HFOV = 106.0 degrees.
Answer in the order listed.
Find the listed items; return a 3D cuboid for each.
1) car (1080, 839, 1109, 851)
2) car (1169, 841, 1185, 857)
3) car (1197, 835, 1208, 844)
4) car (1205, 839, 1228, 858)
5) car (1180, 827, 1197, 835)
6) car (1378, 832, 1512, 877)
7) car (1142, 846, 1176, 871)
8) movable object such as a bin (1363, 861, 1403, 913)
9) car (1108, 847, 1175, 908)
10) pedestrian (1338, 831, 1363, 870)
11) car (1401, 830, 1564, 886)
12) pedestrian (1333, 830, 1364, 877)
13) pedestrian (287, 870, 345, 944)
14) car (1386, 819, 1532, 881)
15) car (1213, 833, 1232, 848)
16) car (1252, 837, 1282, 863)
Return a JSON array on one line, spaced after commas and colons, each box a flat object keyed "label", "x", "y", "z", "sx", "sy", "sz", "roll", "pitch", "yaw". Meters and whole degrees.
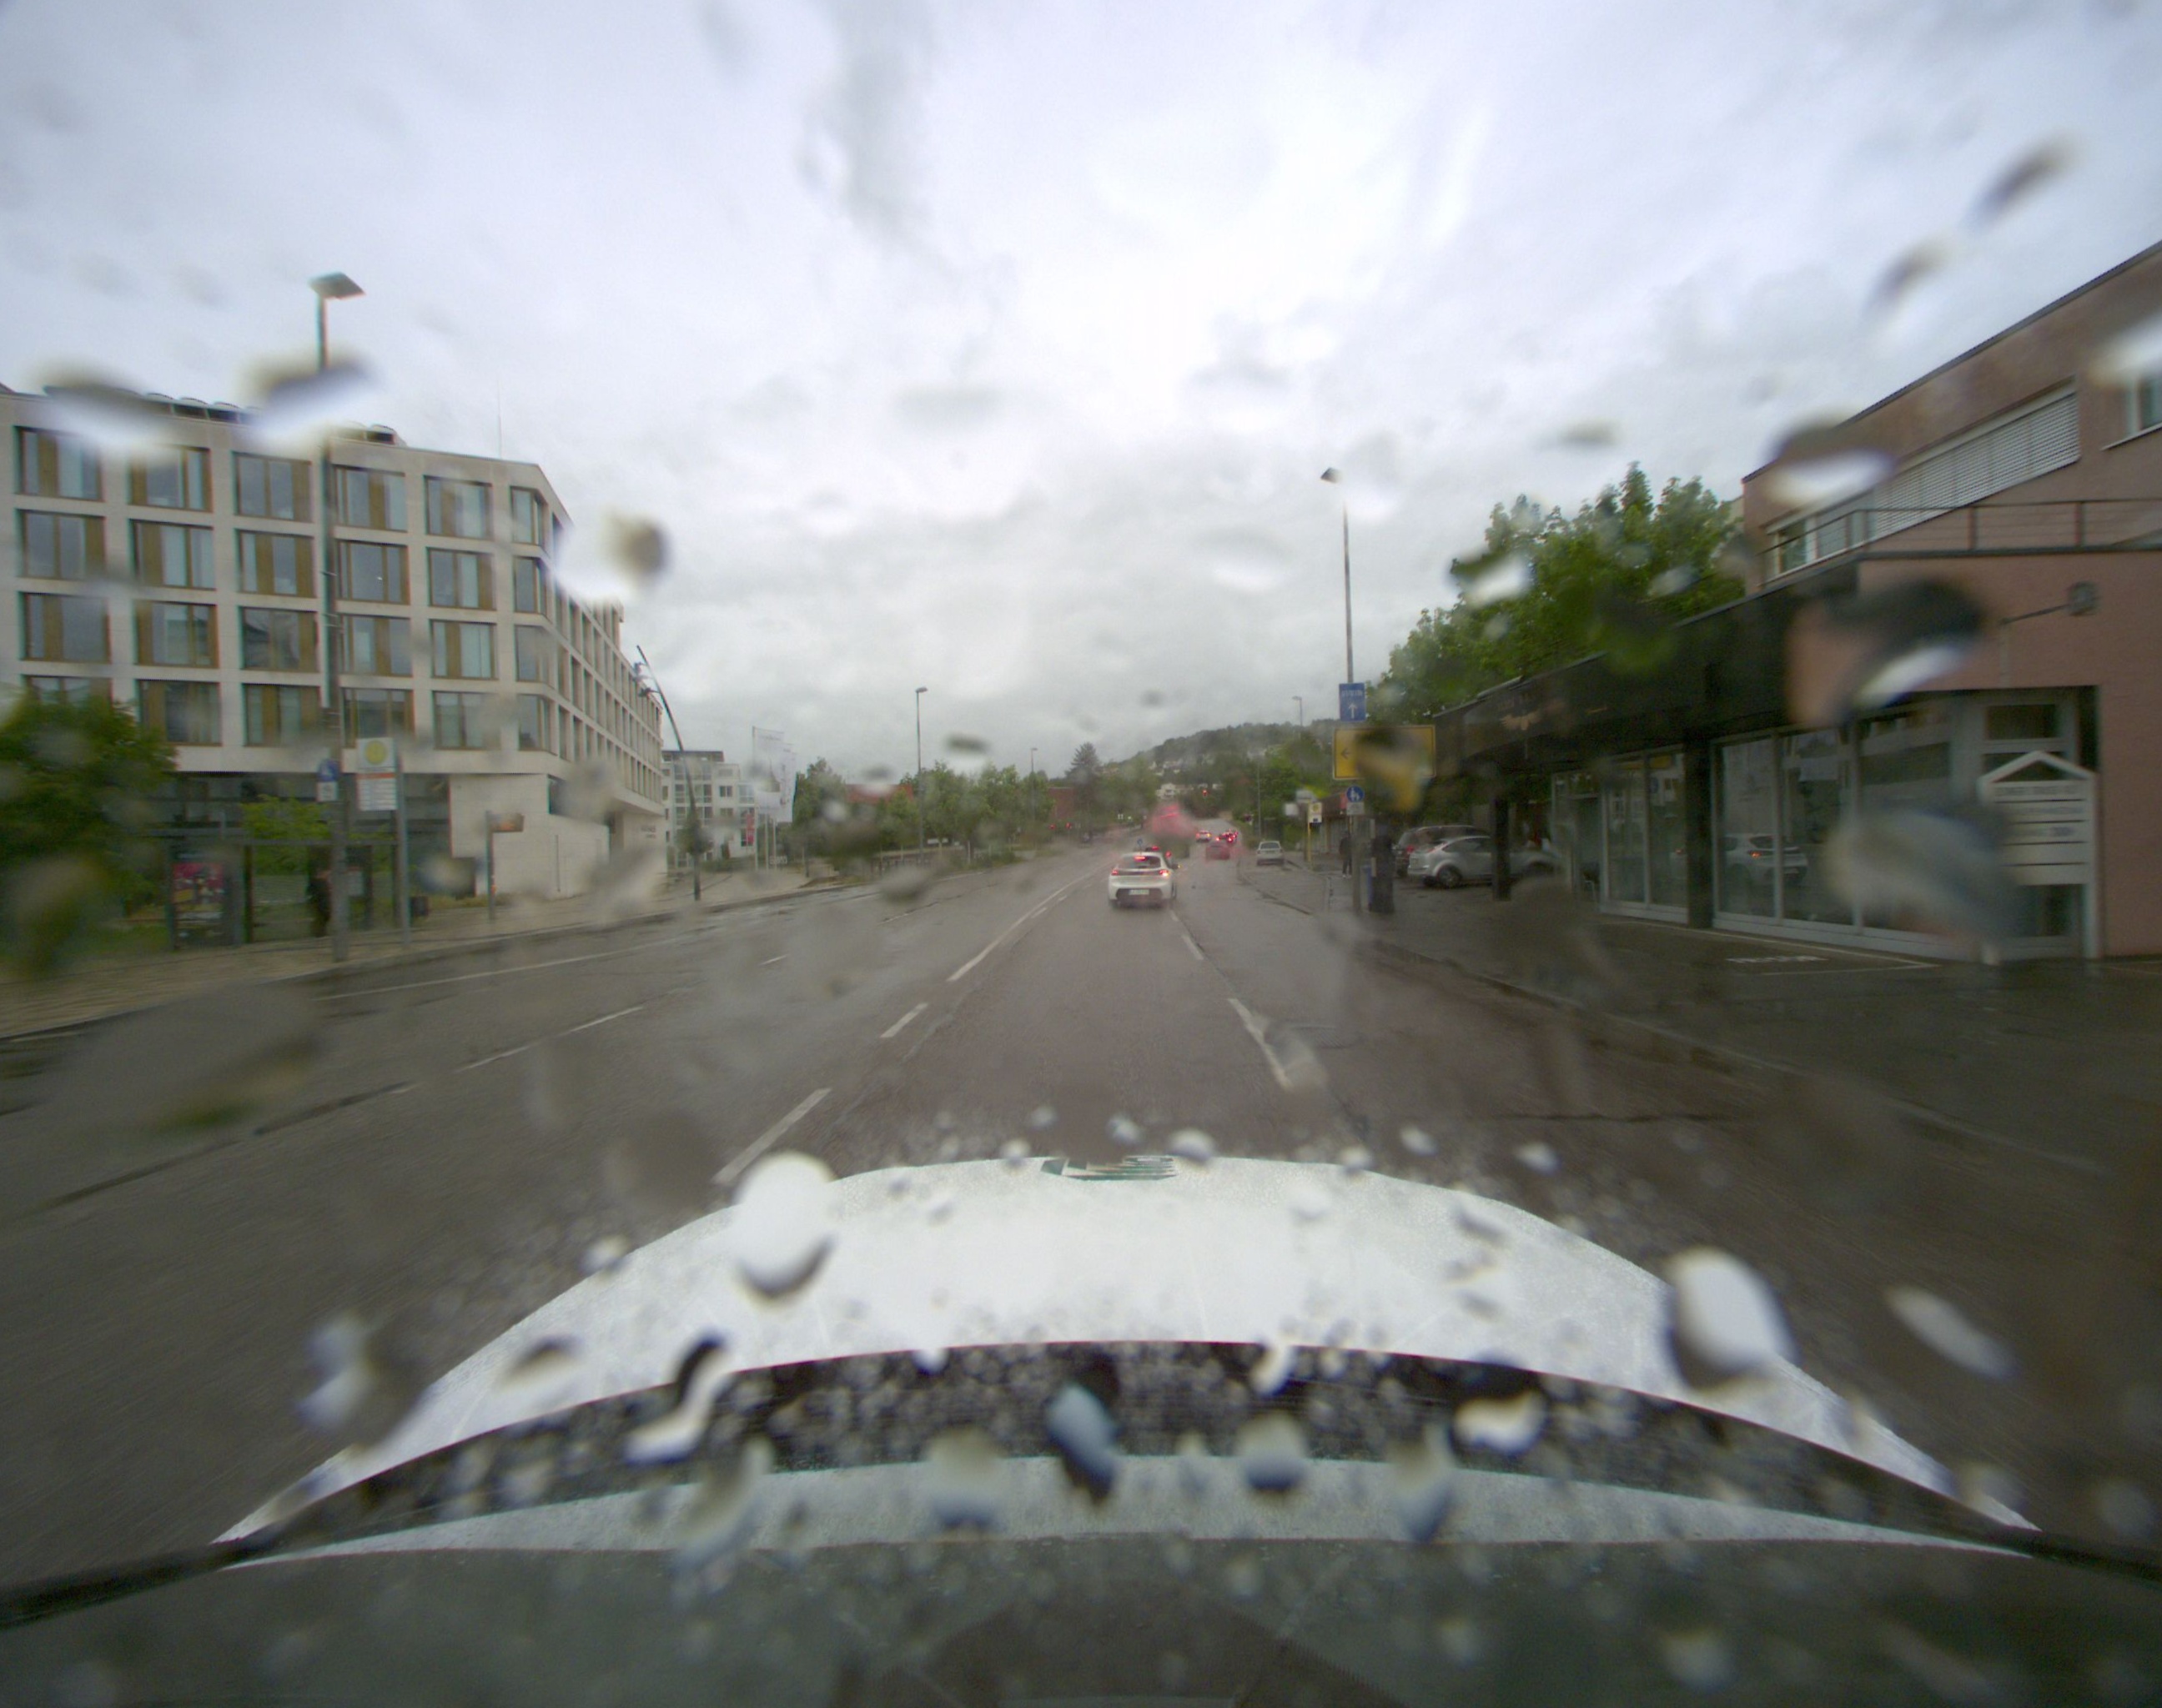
[{"label": "car", "x": 1.869, "y": -1.263, "z": 112.544, "sx": 3.530, "sy": 1.569, "sz": 1.786, "roll": -2, "pitch": -2, "yaw": -23}, {"label": "car", "x": 7.933, "y": -0.400, "z": 67.415, "sx": 1.208, "sy": 1.156, "sz": 2.272, "roll": -2, "pitch": -1, "yaw": 3}, {"label": "car", "x": 15.850, "y": -1.885, "z": 106.206, "sx": 1.377, "sy": 1.126, "sz": 2.615, "roll": -3, "pitch": -1, "yaw": 8}, {"label": "car", "x": 10.904, "y": -0.473, "z": 65.659, "sx": 1.724, "sy": 1.387, "sz": 3.361, "roll": 0, "pitch": 3, "yaw": 8}, {"label": "car", "x": 16.059, "y": -3.427, "z": 121.440, "sx": 1.353, "sy": 1.157, "sz": 2.441, "roll": -3, "pitch": -1, "yaw": 44}, {"label": "car", "x": 13.429, "y": 0.023, "z": 30.239, "sx": 4.130, "sy": 1.454, "sz": 1.804, "roll": -2, "pitch": 0, "yaw": 3}, {"label": "car", "x": 4.482, "y": 0.242, "z": 46.433, "sx": 1.731, "sy": 1.295, "sz": 3.342, "roll": -2, "pitch": 0, "yaw": 9}, {"label": "movable object such as a bin", "x": 6.652, "y": 0.712, "z": 17.958, "sx": 0.633, "sy": 1.074, "sz": 0.699, "roll": -2, "pitch": 2, "yaw": 4}, {"label": "car", "x": 1.752, "y": 0.585, "z": 22.813, "sx": 1.682, "sy": 1.519, "sz": 3.940, "roll": 0, "pitch": 1, "yaw": 6}, {"label": "pedestrian", "x": 12.463, "y": -0.153, "z": 37.652, "sx": 0.871, "sy": 1.736, "sz": 0.761, "roll": -3, "pitch": 1, "yaw": 3}, {"label": "car", "x": 11.850, "y": 0.112, "z": 24.231, "sx": 3.967, "sy": 1.447, "sz": 1.749, "roll": -3, "pitch": 0, "yaw": 6}, {"label": "pedestrian", "x": 10.413, "y": -0.014, "z": 31.741, "sx": 0.711, "sy": 1.821, "sz": 0.790, "roll": -2, "pitch": -2, "yaw": -25}, {"label": "pedestrian", "x": -18.785, "y": 1.283, "z": 20.024, "sx": 0.783, "sy": 1.745, "sz": 0.671, "roll": -2, "pitch": -2, "yaw": -13}, {"label": "car", "x": 12.731, "y": -0.131, "z": 27.670, "sx": 4.073, "sy": 1.871, "sz": 1.880, "roll": -3, "pitch": 0, "yaw": 6}, {"label": "car", "x": 16.002, "y": -1.482, "z": 92.146, "sx": 1.642, "sy": 1.485, "sz": 3.367, "roll": -2, "pitch": -1, "yaw": 2}, {"label": "car", "x": 11.926, "y": -0.273, "z": 52.068, "sx": 1.718, "sy": 1.497, "sz": 4.497, "roll": -3, "pitch": 1, "yaw": 13}]
